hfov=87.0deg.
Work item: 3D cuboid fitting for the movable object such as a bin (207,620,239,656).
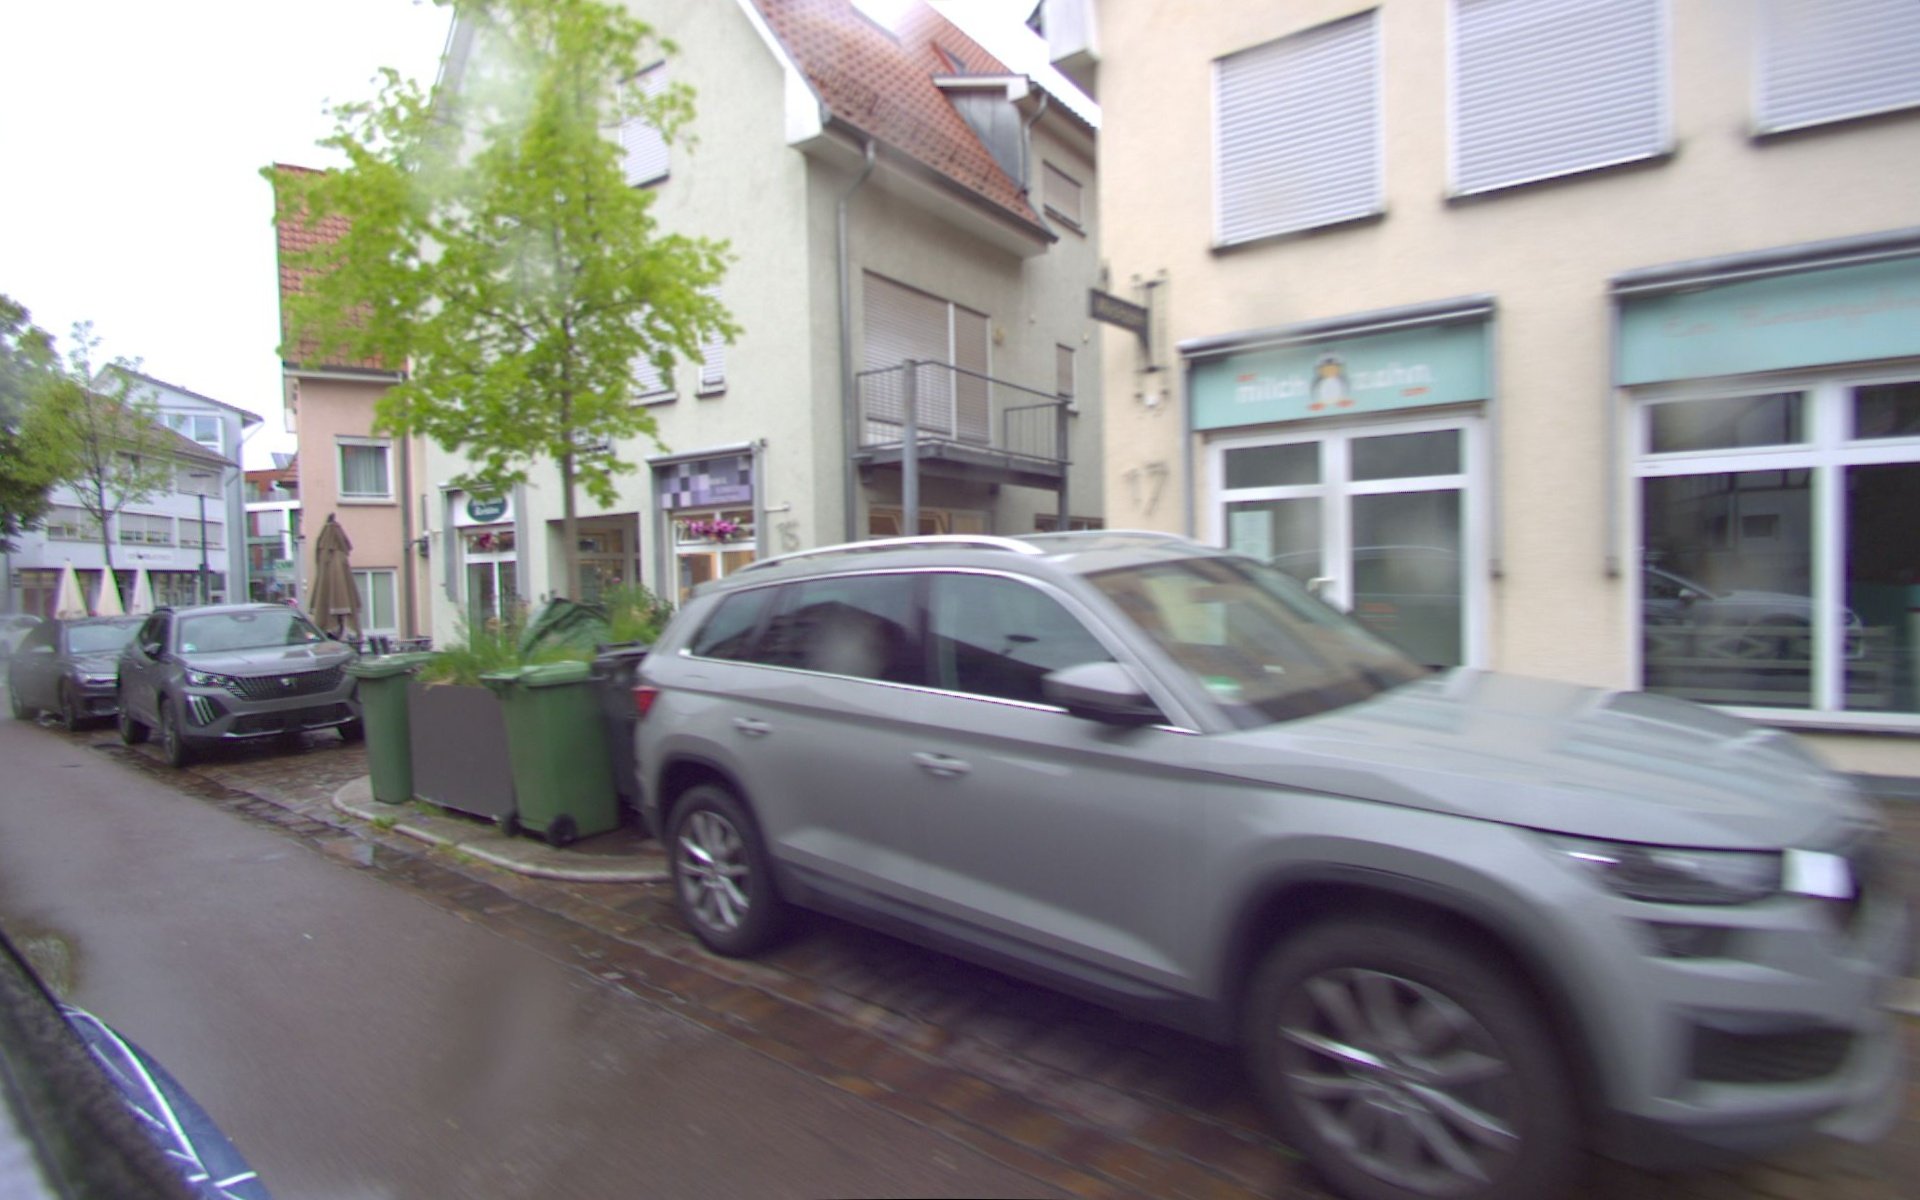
[{"bbox_3d":[-25.262,1.298,34.700,0.672,1.144,0.721,-2,1,-17],"label":"movable object such as a bin"}]

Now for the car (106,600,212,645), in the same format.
[{"bbox_3d":[-35.398,0.926,44.882,1.764,1.651,4.451,-2,3,-11],"label":"car"}]

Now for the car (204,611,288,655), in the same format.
[{"bbox_3d":[-26.797,1.215,38.103,1.823,1.463,4.086,-3,0,-25],"label":"car"}]

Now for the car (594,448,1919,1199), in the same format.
[{"bbox_3d":[0.605,0.525,3.749,4.644,1.678,1.804,1,4,44],"label":"car"}]

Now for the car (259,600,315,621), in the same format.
[{"bbox_3d":[-54.806,0.834,82.439,3.890,1.566,1.793,-1,3,19],"label":"car"}]

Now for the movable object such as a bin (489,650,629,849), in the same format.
[{"bbox_3d":[-2.395,0.861,6.061,0.534,1.054,0.546,0,3,37],"label":"movable object such as a bin"}]

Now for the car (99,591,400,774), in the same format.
[{"bbox_3d":[-8.048,0.773,11.302,4.328,1.535,1.842,-1,3,43],"label":"car"}]

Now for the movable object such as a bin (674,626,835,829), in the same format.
[{"bbox_3d":[-1.294,0.758,6.386,0.780,1.128,0.610,0,3,38],"label":"movable object such as a bin"}]

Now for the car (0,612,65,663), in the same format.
[{"bbox_3d":[-32.484,1.258,34.199,1.763,1.567,3.961,-1,1,-16],"label":"car"}]

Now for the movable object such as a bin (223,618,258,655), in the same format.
[{"bbox_3d":[-24.314,1.238,34.211,0.690,1.130,0.721,-5,3,-17],"label":"movable object such as a bin"}]

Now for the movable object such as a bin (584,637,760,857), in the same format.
[{"bbox_3d":[-1.670,0.803,5.882,0.780,1.109,0.610,0,3,38],"label":"movable object such as a bin"}]

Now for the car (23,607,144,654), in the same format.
[{"bbox_3d":[-33.917,1.146,39.295,1.764,1.479,3.959,-2,3,-11],"label":"car"}]

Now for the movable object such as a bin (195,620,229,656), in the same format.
[{"bbox_3d":[-25.050,1.278,33.898,0.690,1.152,0.721,-2,0,-17],"label":"movable object such as a bin"}]

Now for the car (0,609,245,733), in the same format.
[{"bbox_3d":[-12.371,0.949,14.739,4.611,1.453,1.845,-2,1,37],"label":"car"}]

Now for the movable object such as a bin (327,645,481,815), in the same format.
[{"bbox_3d":[-4.124,0.924,7.521,0.743,1.091,0.739,1,3,39],"label":"movable object such as a bin"}]
